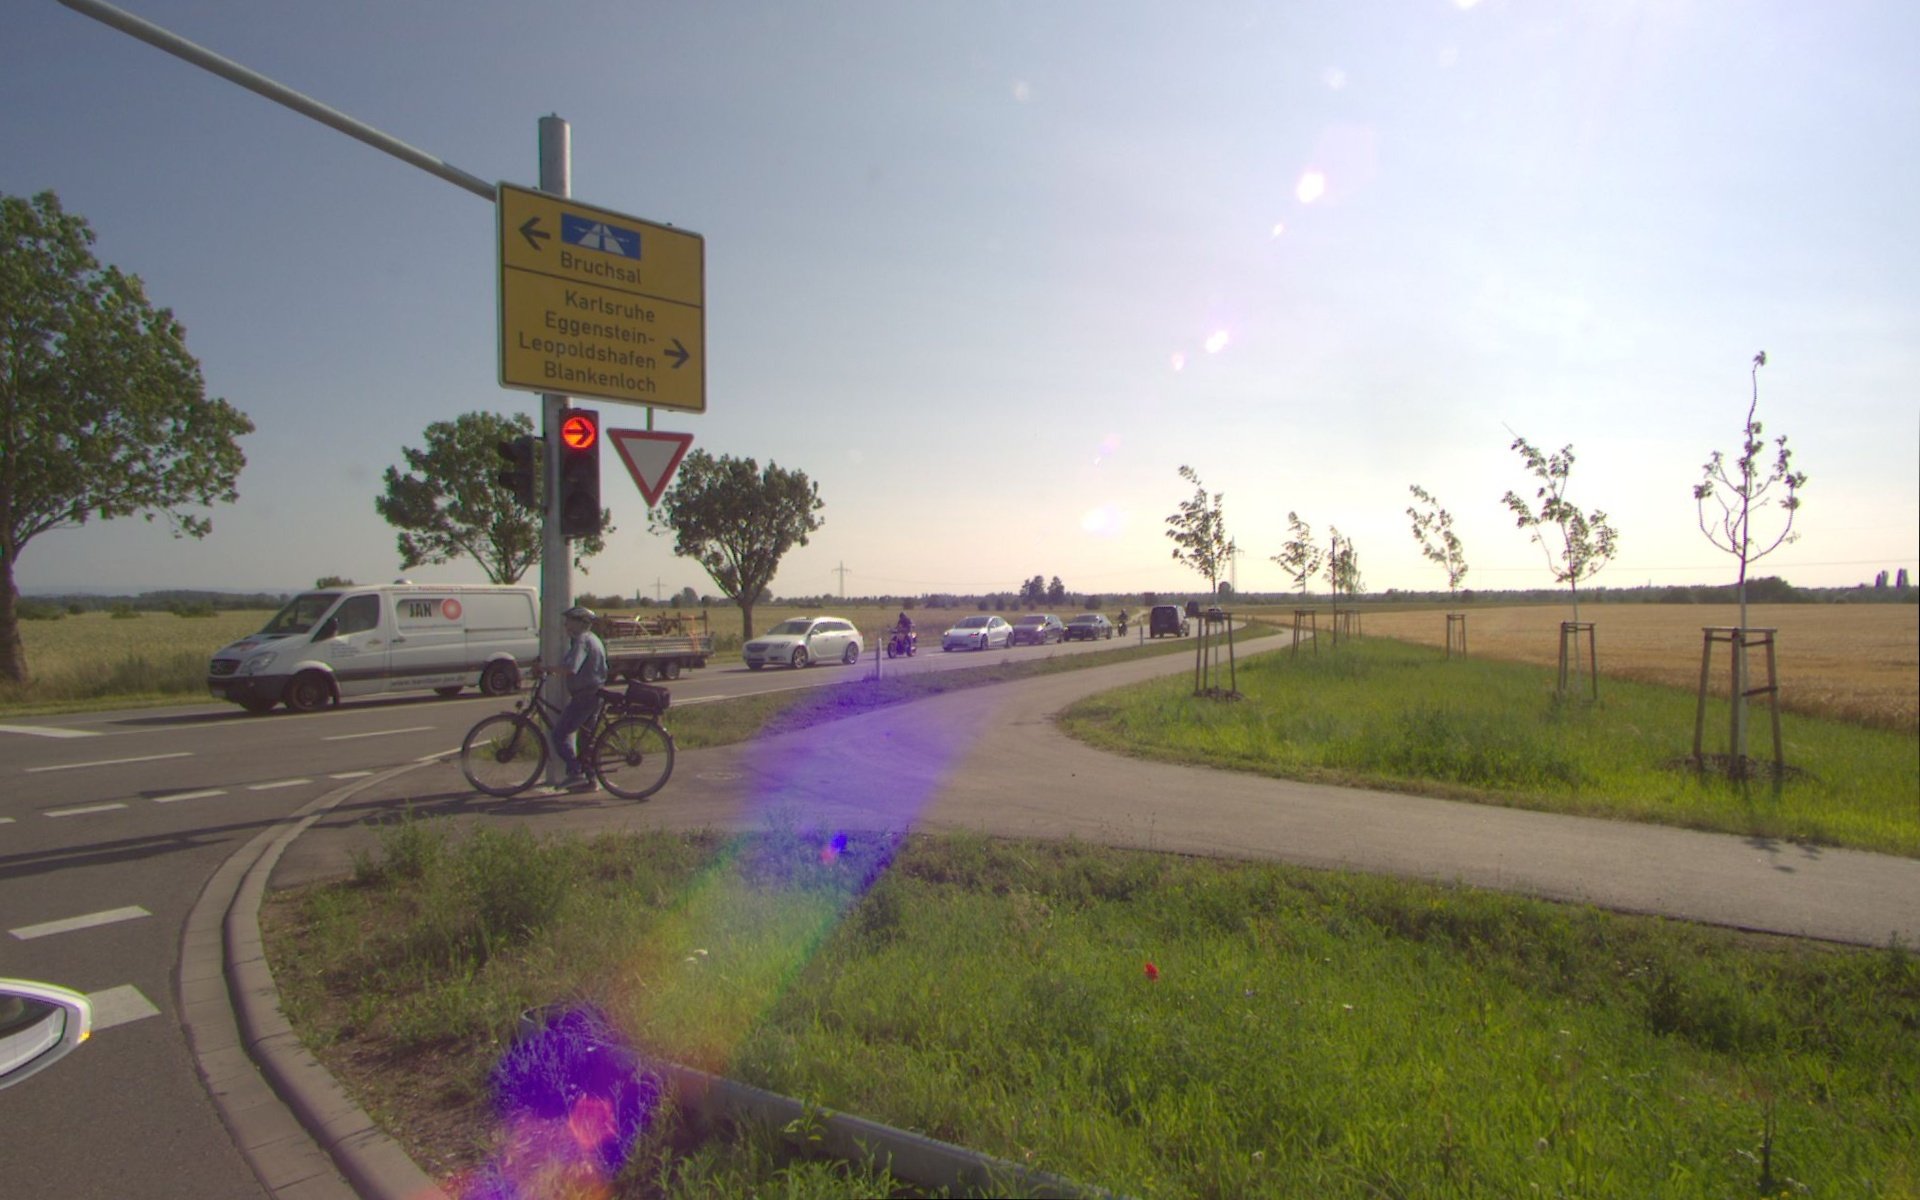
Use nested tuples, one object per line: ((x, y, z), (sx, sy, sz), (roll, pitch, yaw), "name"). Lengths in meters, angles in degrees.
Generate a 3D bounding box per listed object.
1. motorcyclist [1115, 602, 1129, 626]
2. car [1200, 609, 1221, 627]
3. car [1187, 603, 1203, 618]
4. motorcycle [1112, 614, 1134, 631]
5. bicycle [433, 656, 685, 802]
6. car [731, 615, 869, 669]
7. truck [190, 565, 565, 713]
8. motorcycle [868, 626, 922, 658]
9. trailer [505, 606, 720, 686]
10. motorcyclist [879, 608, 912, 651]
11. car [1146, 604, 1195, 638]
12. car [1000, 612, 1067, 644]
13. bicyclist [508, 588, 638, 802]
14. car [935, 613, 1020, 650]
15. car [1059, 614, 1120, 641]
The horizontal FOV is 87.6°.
((10.387, 0.890, 64.143), (0.669, 1.515, 0.844), (-1, 0, 25), "motorcyclist")
((25.064, 1.765, 100.117), (1.943, 1.703, 4.102), (-1, -1, 16), "car")
((35.535, 1.595, 151.495), (2.022, 2.039, 4.001), (0, -2, 7), "car")
((10.452, 1.427, 64.238), (0.859, 1.087, 1.962), (-1, -1, 25), "motorcycle")
((-3.432, 1.119, 8.751), (1.910, 1.165, 0.681), (3, -2, -13), "bicycle")
((-4.825, 1.246, 30.891), (1.738, 1.511, 4.689), (-1, -1, 28), "car")
((-11.089, 0.694, 19.738), (2.041, 2.436, 6.168), (-1, -1, 31), "truck")
((-2.340, 1.514, 36.409), (0.885, 1.057, 2.419), (-1, 0, 26), "motorcycle")
((-8.361, 1.057, 24.613), (1.951, 1.760, 4.991), (-1, -1, 28), "trailer")
((-2.335, 1.068, 36.470), (0.670, 1.535, 1.176), (-1, 0, 27), "motorcyclist")
((12.336, 1.217, 58.544), (1.816, 1.857, 4.453), (0, -1, 26), "car")
((3.658, 1.353, 49.129), (1.866, 1.480, 4.292), (-1, -1, 25), "car")
((-3.372, 0.823, 8.798), (0.901, 1.787, 0.619), (3, -2, -13), "bicyclist")
((0.810, 1.307, 42.885), (1.868, 1.485, 4.257), (-2, -1, 29), "car")
((7.213, 1.502, 55.504), (1.866, 1.455, 4.779), (-1, -1, 27), "car")
